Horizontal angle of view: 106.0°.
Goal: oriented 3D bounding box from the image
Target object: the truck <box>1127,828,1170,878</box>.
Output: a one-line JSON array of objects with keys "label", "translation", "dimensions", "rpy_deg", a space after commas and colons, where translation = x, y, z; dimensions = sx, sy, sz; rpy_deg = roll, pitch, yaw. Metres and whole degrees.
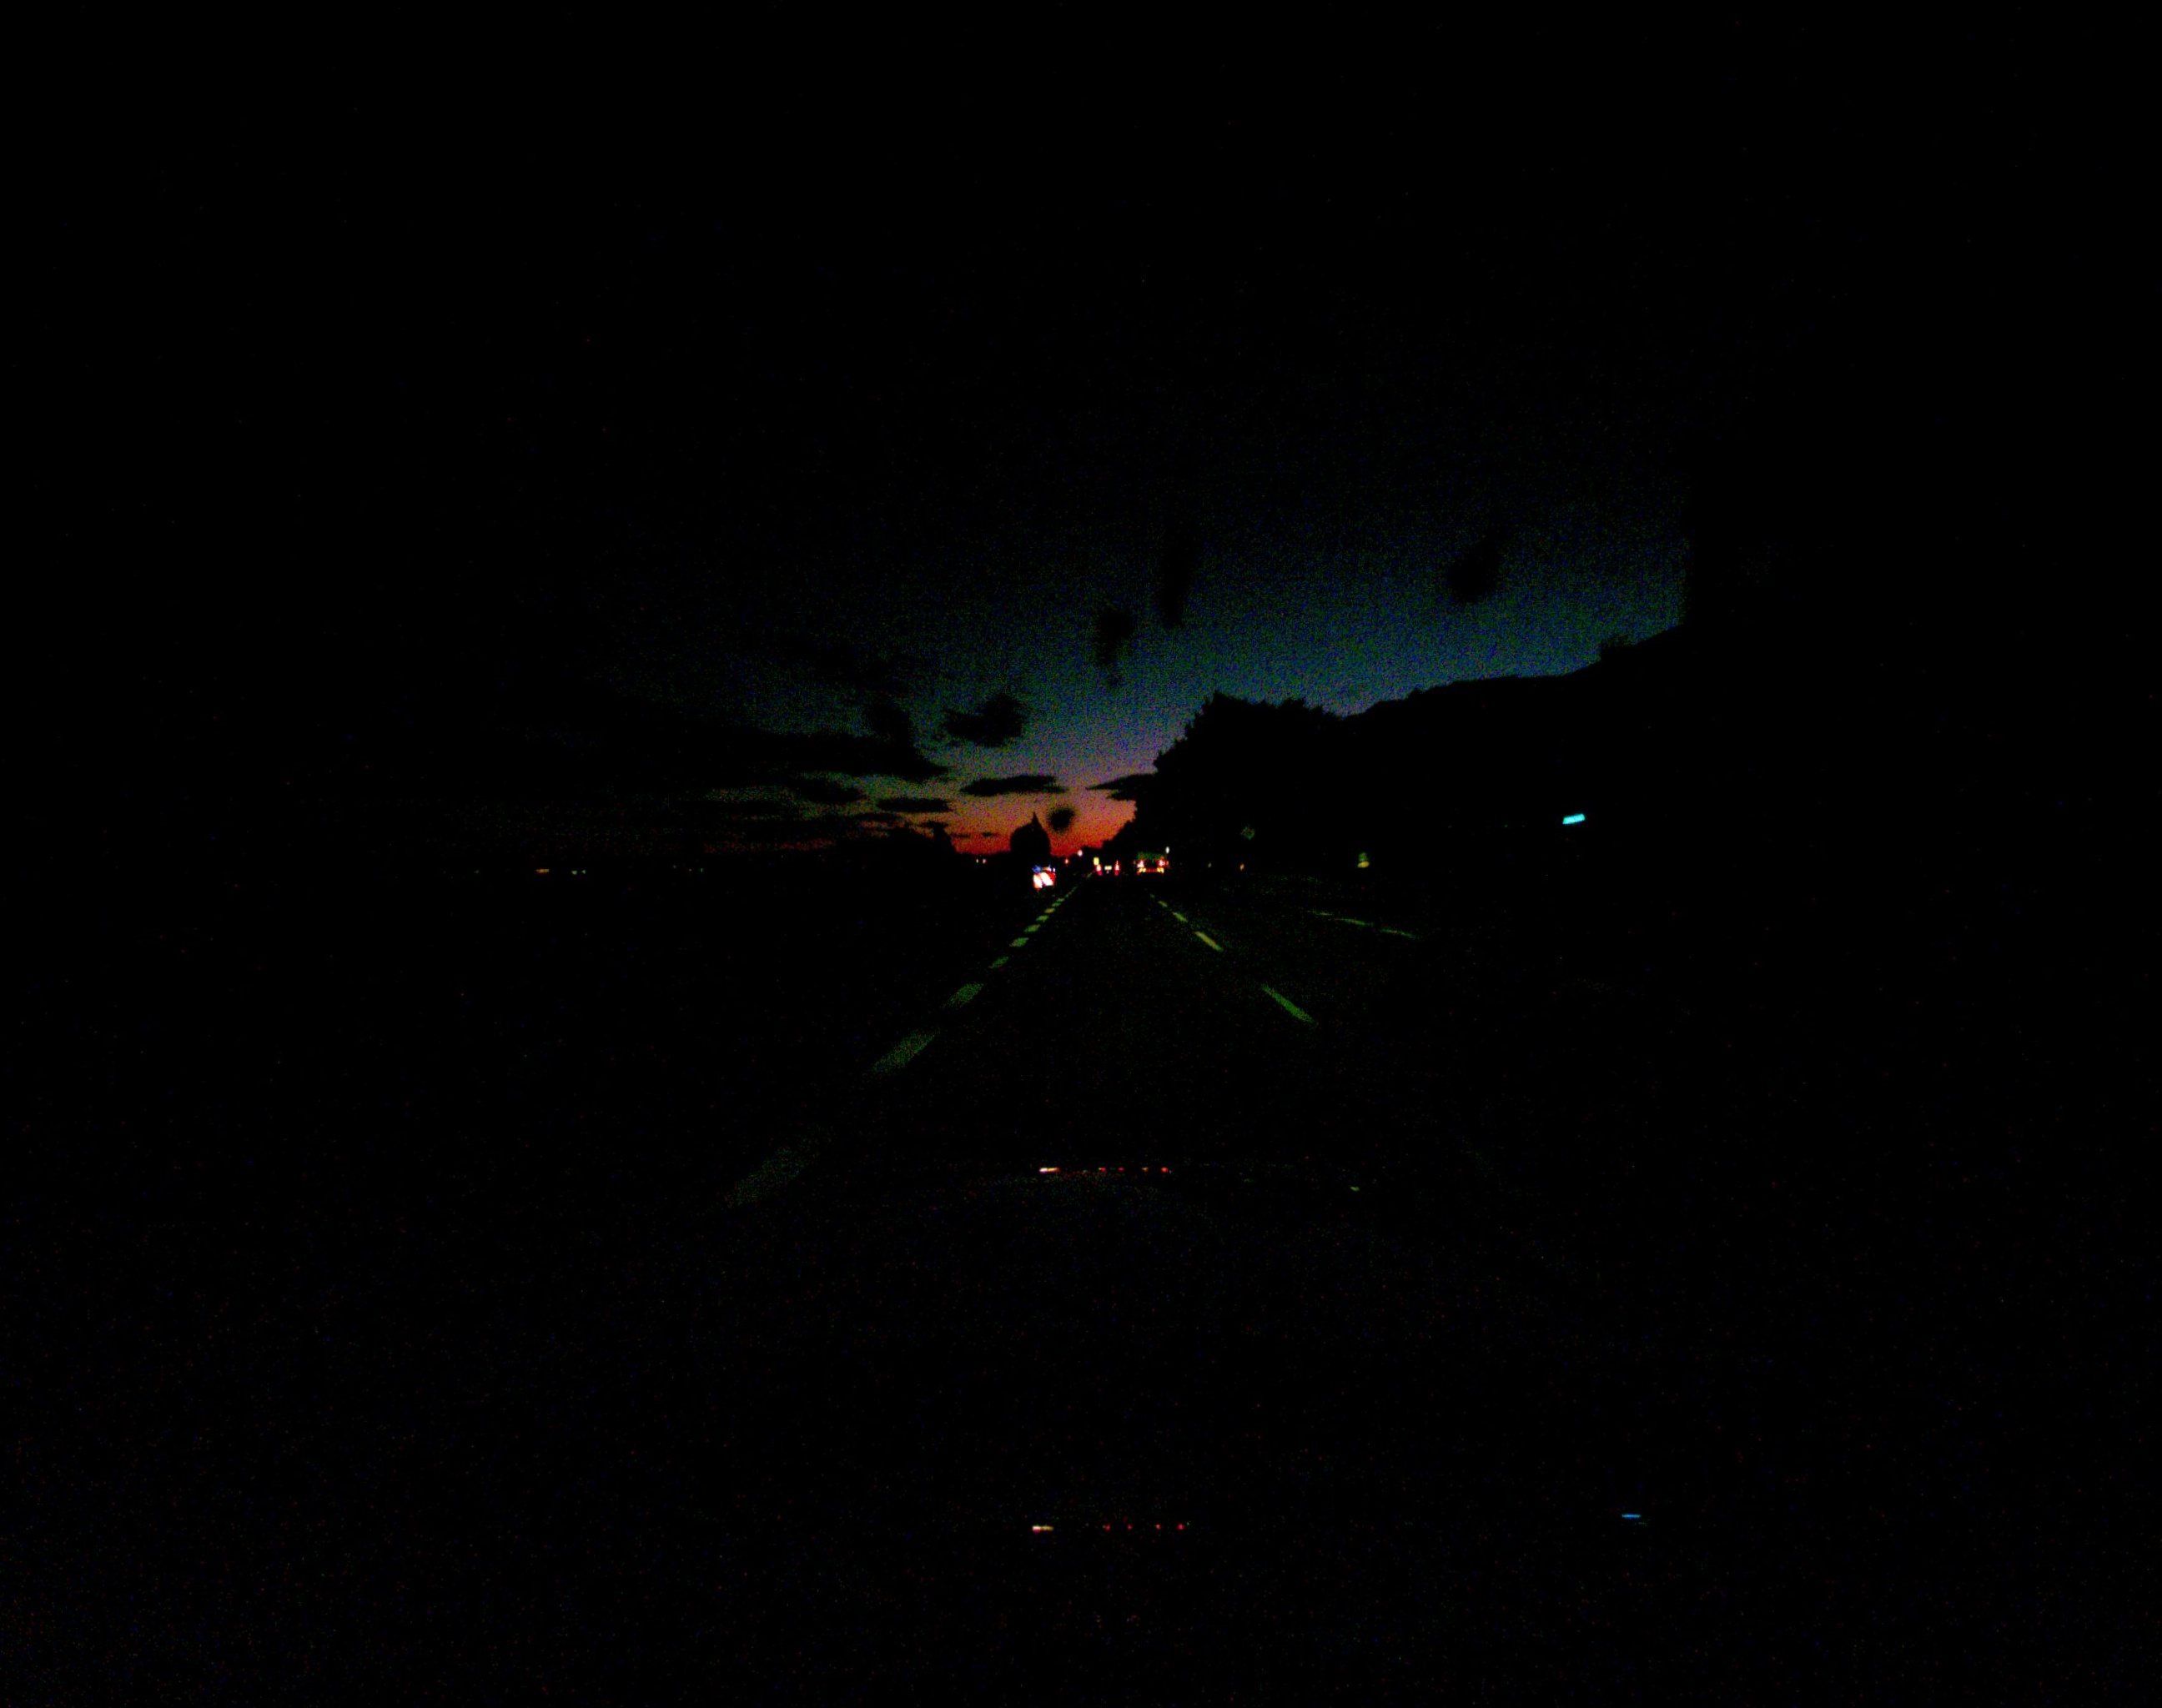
[{"label": "truck", "translation": [5.985, -0.044, 74.433], "dimensions": [2.873, 4.106, 12.682], "rpy_deg": [-1, -1, 0]}]

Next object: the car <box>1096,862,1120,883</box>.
[{"label": "car", "translation": [1.996, 1.348, 60.876], "dimensions": [1.690, 1.452, 3.914], "rpy_deg": [-1, -1, 0]}]

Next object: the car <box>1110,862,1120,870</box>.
[{"label": "car", "translation": [6.561, 2.294, 158.482], "dimensions": [1.690, 1.452, 3.914], "rpy_deg": [-1, -1, 0]}]
